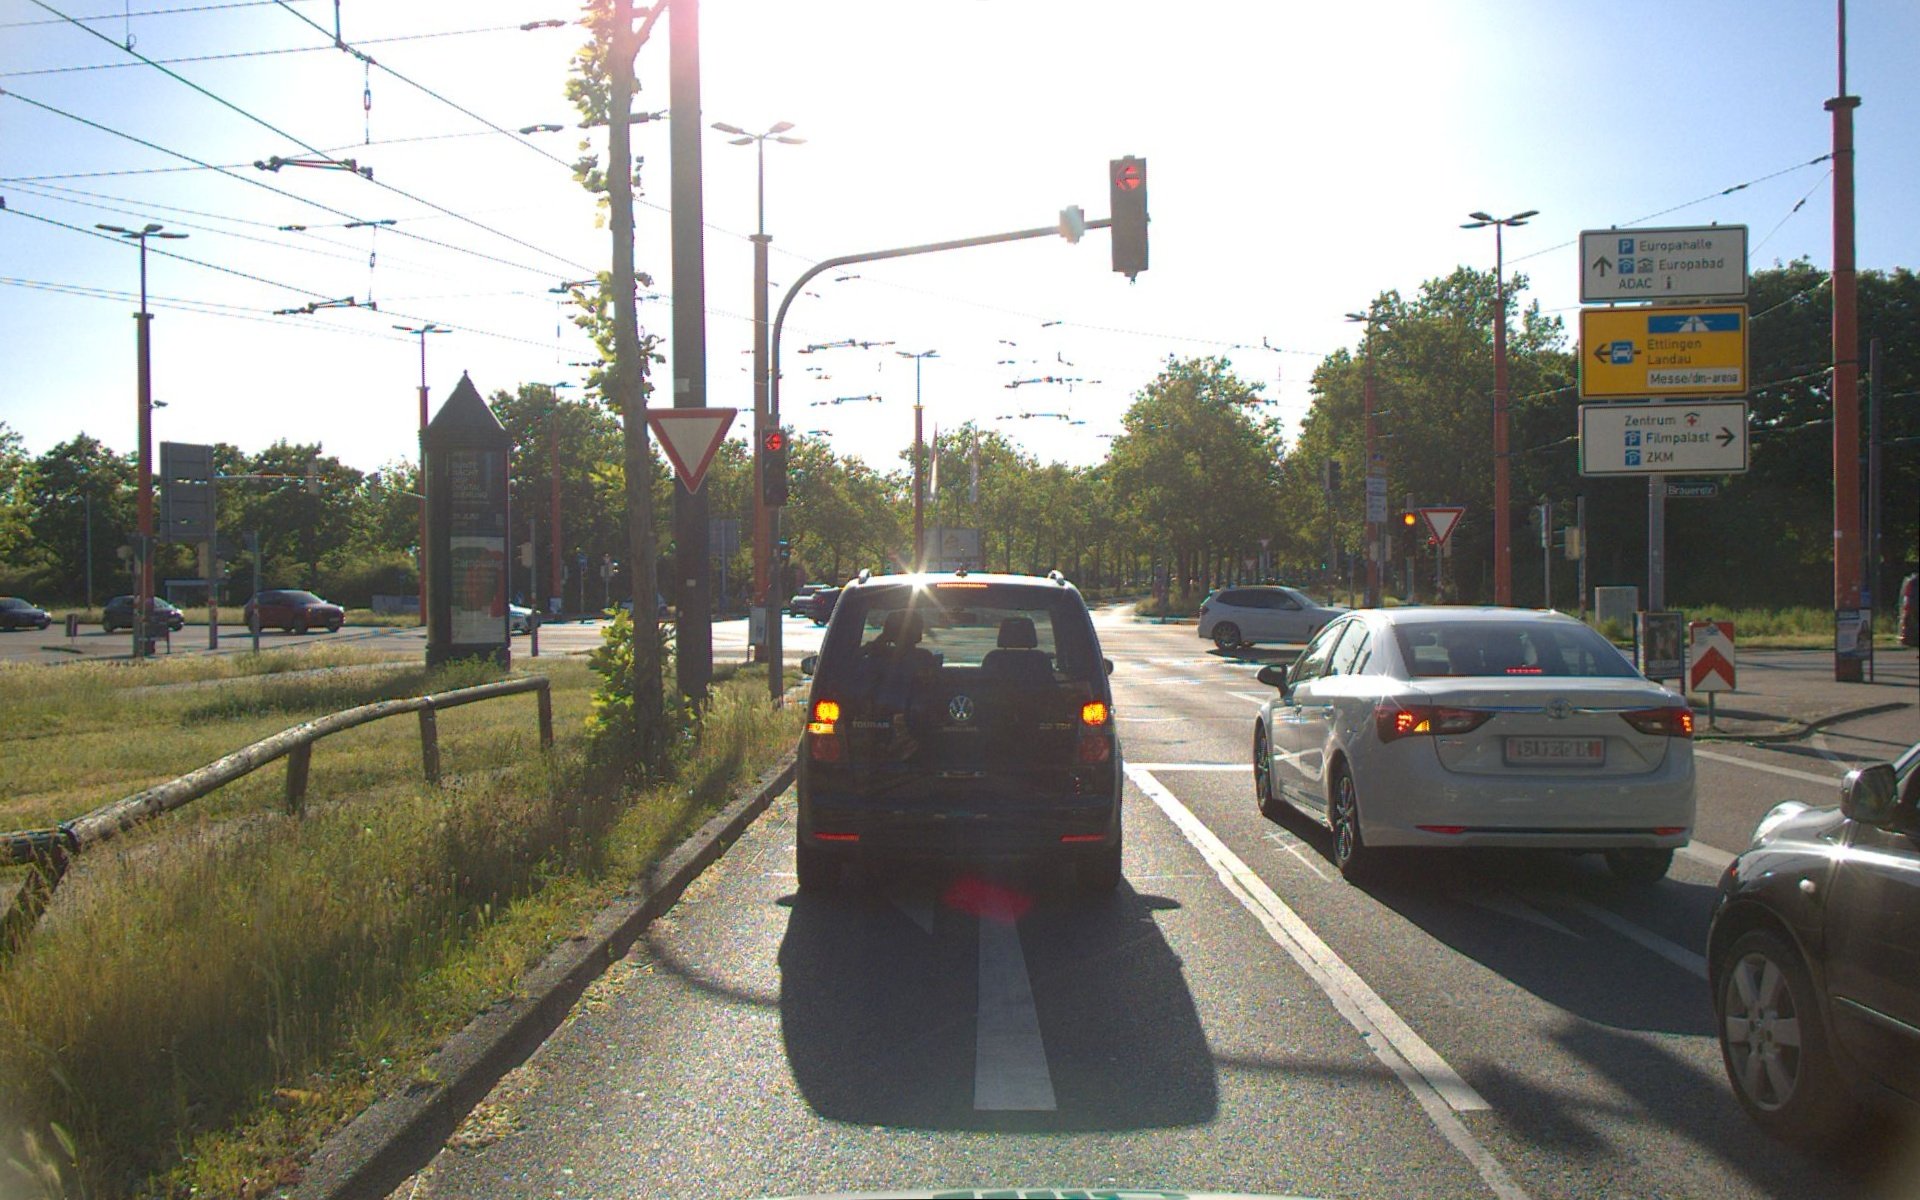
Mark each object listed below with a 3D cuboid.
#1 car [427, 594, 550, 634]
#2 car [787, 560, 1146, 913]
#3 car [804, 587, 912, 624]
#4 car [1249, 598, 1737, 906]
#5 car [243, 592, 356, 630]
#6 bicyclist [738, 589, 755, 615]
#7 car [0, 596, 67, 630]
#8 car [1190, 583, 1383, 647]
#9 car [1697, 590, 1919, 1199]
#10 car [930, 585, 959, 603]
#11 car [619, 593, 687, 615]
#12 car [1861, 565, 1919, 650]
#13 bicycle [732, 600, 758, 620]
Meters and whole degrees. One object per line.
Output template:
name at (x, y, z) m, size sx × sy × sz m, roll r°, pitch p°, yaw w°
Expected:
car at (-17.820, 0.515, 62.575) m, size 4.120 × 1.489 × 1.915 m, roll 0°, pitch 0°, yaw 18°
car at (0.006, 0.641, 9.856) m, size 1.702 × 1.670 × 3.999 m, roll 0°, pitch 0°, yaw -1°
car at (-4.263, 0.218, 69.401) m, size 4.160 × 1.489 × 1.897 m, roll 0°, pitch 0°, yaw -28°
car at (2.947, 0.738, 10.101) m, size 1.679 × 1.480 × 4.144 m, roll 0°, pitch 0°, yaw 0°
car at (-26.633, 0.435, 66.642) m, size 4.275 × 1.489 × 1.912 m, roll 0°, pitch 0°, yaw 27°
bicyclist at (-12.195, 0.091, 94.432) m, size 0.678 × 1.483 × 0.875 m, roll 0°, pitch 0°, yaw 17°
car at (-42.772, 0.573, 75.037) m, size 4.143 × 1.489 × 1.913 m, roll 0°, pitch 0°, yaw 26°
car at (8.668, 0.384, 43.951) m, size 4.689 × 1.626 × 1.911 m, roll 0°, pitch 0°, yaw 29°
car at (3.126, 0.740, 3.501) m, size 1.525 × 1.532 × 3.515 m, roll 0°, pitch 0°, yaw -1°
car at (-1.532, -0.599, 162.894) m, size 1.951 × 1.714 × 4.833 m, roll 0°, pitch 0°, yaw 11°
car at (-18.535, 0.225, 99.807) m, size 3.759 × 1.333 × 1.648 m, roll 0°, pitch 0°, yaw -28°
car at (22.558, 0.153, 36.471) m, size 4.689 × 1.868 × 1.911 m, roll 0°, pitch 0°, yaw 29°
bicycle at (-12.226, 0.566, 94.212) m, size 0.719 × 1.109 × 1.962 m, roll 0°, pitch 0°, yaw 18°
